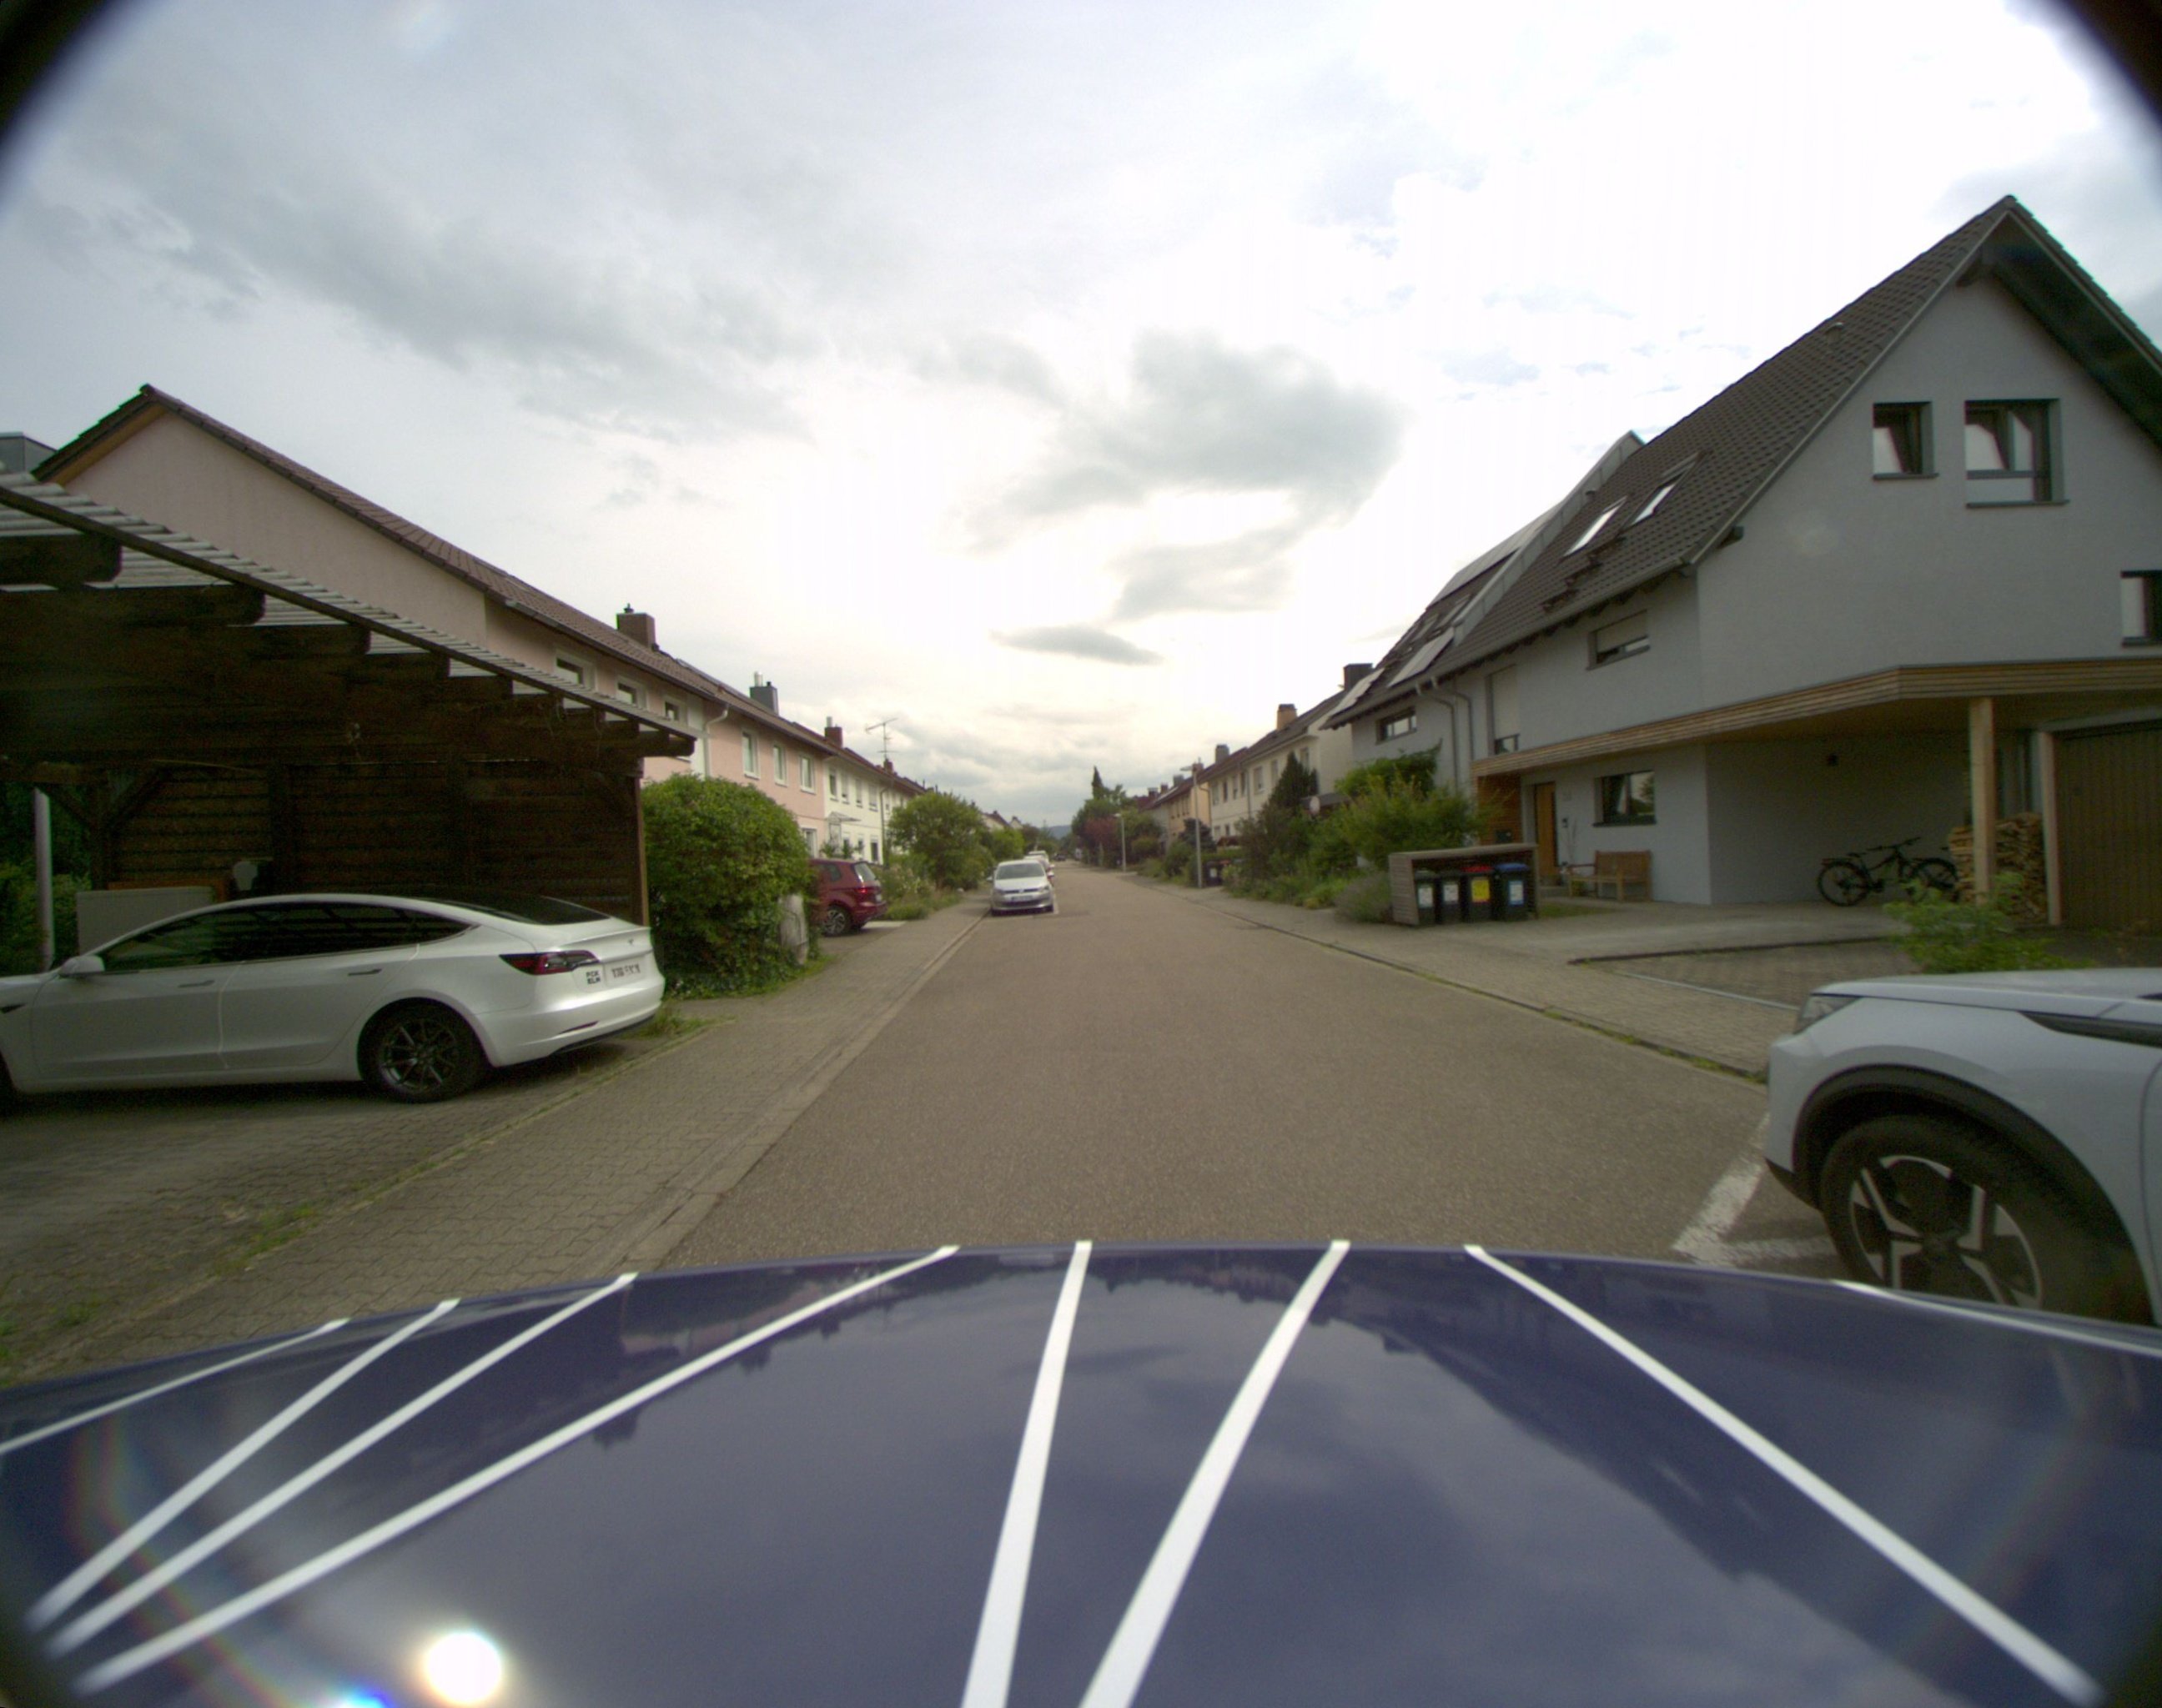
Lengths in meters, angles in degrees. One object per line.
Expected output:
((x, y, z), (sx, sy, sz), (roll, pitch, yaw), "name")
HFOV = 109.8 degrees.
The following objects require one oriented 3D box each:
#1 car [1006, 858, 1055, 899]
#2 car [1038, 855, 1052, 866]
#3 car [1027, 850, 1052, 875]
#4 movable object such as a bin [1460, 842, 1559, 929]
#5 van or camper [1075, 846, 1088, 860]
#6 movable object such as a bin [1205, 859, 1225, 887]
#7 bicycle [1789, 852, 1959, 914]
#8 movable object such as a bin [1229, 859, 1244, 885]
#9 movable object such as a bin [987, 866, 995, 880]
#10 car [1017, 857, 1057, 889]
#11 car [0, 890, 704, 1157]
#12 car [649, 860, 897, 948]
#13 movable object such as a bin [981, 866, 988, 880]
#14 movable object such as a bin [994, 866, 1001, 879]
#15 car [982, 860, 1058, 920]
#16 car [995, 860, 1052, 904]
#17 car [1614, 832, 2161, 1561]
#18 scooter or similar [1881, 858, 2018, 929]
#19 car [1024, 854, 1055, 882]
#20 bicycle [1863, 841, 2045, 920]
((-2.046, 0.957, 31.982), (1.778, 1.427, 4.824), (-5, 0, -2), "car")
((-4.955, 0.866, 104.260), (1.754, 1.458, 4.646), (-3, 0, -3), "car")
((-3.593, 0.704, 65.157), (2.026, 1.936, 4.745), (-2, 0, -4), "car")
((6.971, 0.493, 12.420), (0.952, 1.304, 1.000), (-4, 1, -3), "movable object such as a bin")
((0.018, -0.206, 158.922), (2.347, 2.719, 5.746), (-3, 0, -2), "van or camper")
((5.071, 0.710, 28.766), (0.603, 1.021, 0.665), (-2, 1, -1), "movable object such as a bin")
((11.641, 0.426, 11.190), (1.934, 0.844, 0.357), (-2, 1, 7), "bicycle")
((5.873, 0.692, 28.699), (0.468, 0.950, 0.467), (-2, 1, -1), "movable object such as a bin")
((-6.261, 1.316, 52.849), (0.432, 0.916, 0.464), (-4, 1, -7), "movable object such as a bin")
((-2.259, 0.901, 37.991), (1.843, 1.404, 4.635), (-2, 0, -5), "car")
((-5.644, 1.122, 5.790), (4.462, 1.424, 2.026), (-2, 0, -4), "car")
((-6.185, 0.972, 15.679), (4.281, 1.551, 1.934), (-2, 0, -2), "car")
((-6.719, 1.337, 52.801), (0.432, 0.916, 0.464), (-4, 1, -7), "movable object such as a bin")
((-5.805, 1.296, 52.826), (0.408, 0.916, 0.420), (-2, 1, -7), "movable object such as a bin")
((-1.730, 0.946, 21.656), (1.870, 1.408, 4.251), (-3, 0, -4), "car")
((-1.984, 0.941, 27.147), (1.777, 1.348, 4.264), (-2, 0, -2), "car")
((3.306, 0.724, 0.924), (1.939, 1.547, 4.633), (-2, 0, -2), "car")
((10.814, 0.482, 9.470), (1.306, 0.792, 0.363), (-3, 1, -2), "scooter or similar")
((-2.526, 0.820, 46.170), (1.718, 1.535, 3.972), (-4, 0, -4), "car")
((11.727, 0.352, 10.229), (1.935, 0.947, 0.357), (-3, 1, 3), "bicycle")
